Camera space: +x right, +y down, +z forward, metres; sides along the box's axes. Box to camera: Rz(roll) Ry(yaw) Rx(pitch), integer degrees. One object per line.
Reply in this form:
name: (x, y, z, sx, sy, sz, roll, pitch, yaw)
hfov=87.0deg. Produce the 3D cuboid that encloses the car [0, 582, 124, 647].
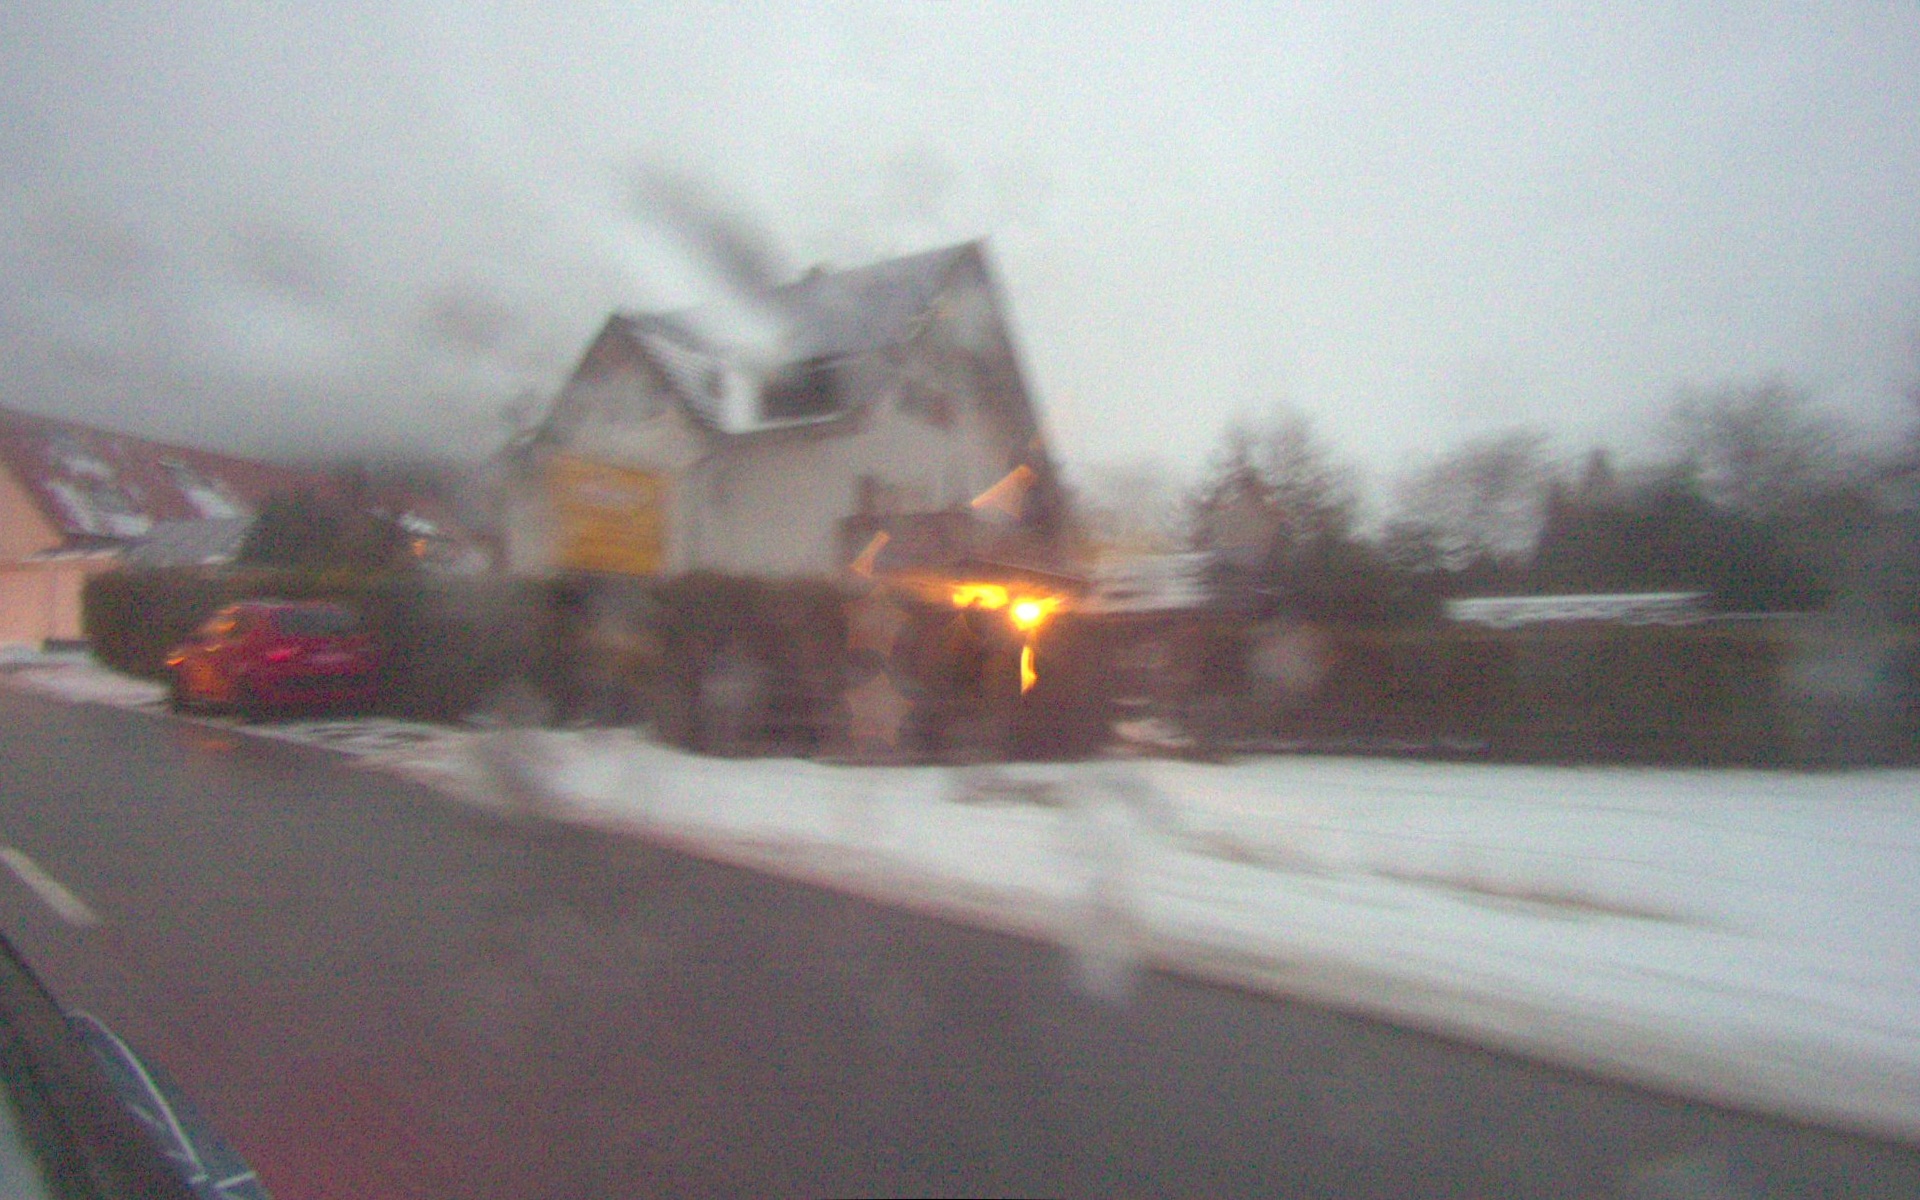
car: (-32.086, 0.466, 34.322, 2.206, 2.028, 5.225, 4, -1, 29)

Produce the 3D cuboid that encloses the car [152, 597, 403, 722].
car: (-9.608, 0.776, 14.199, 3.507, 1.546, 1.704, 0, -3, 34)

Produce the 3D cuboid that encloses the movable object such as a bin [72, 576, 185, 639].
movable object such as a bin: (-23.048, 0.170, 28.139, 2.332, 1.661, 1.444, -1, 1, -37)
